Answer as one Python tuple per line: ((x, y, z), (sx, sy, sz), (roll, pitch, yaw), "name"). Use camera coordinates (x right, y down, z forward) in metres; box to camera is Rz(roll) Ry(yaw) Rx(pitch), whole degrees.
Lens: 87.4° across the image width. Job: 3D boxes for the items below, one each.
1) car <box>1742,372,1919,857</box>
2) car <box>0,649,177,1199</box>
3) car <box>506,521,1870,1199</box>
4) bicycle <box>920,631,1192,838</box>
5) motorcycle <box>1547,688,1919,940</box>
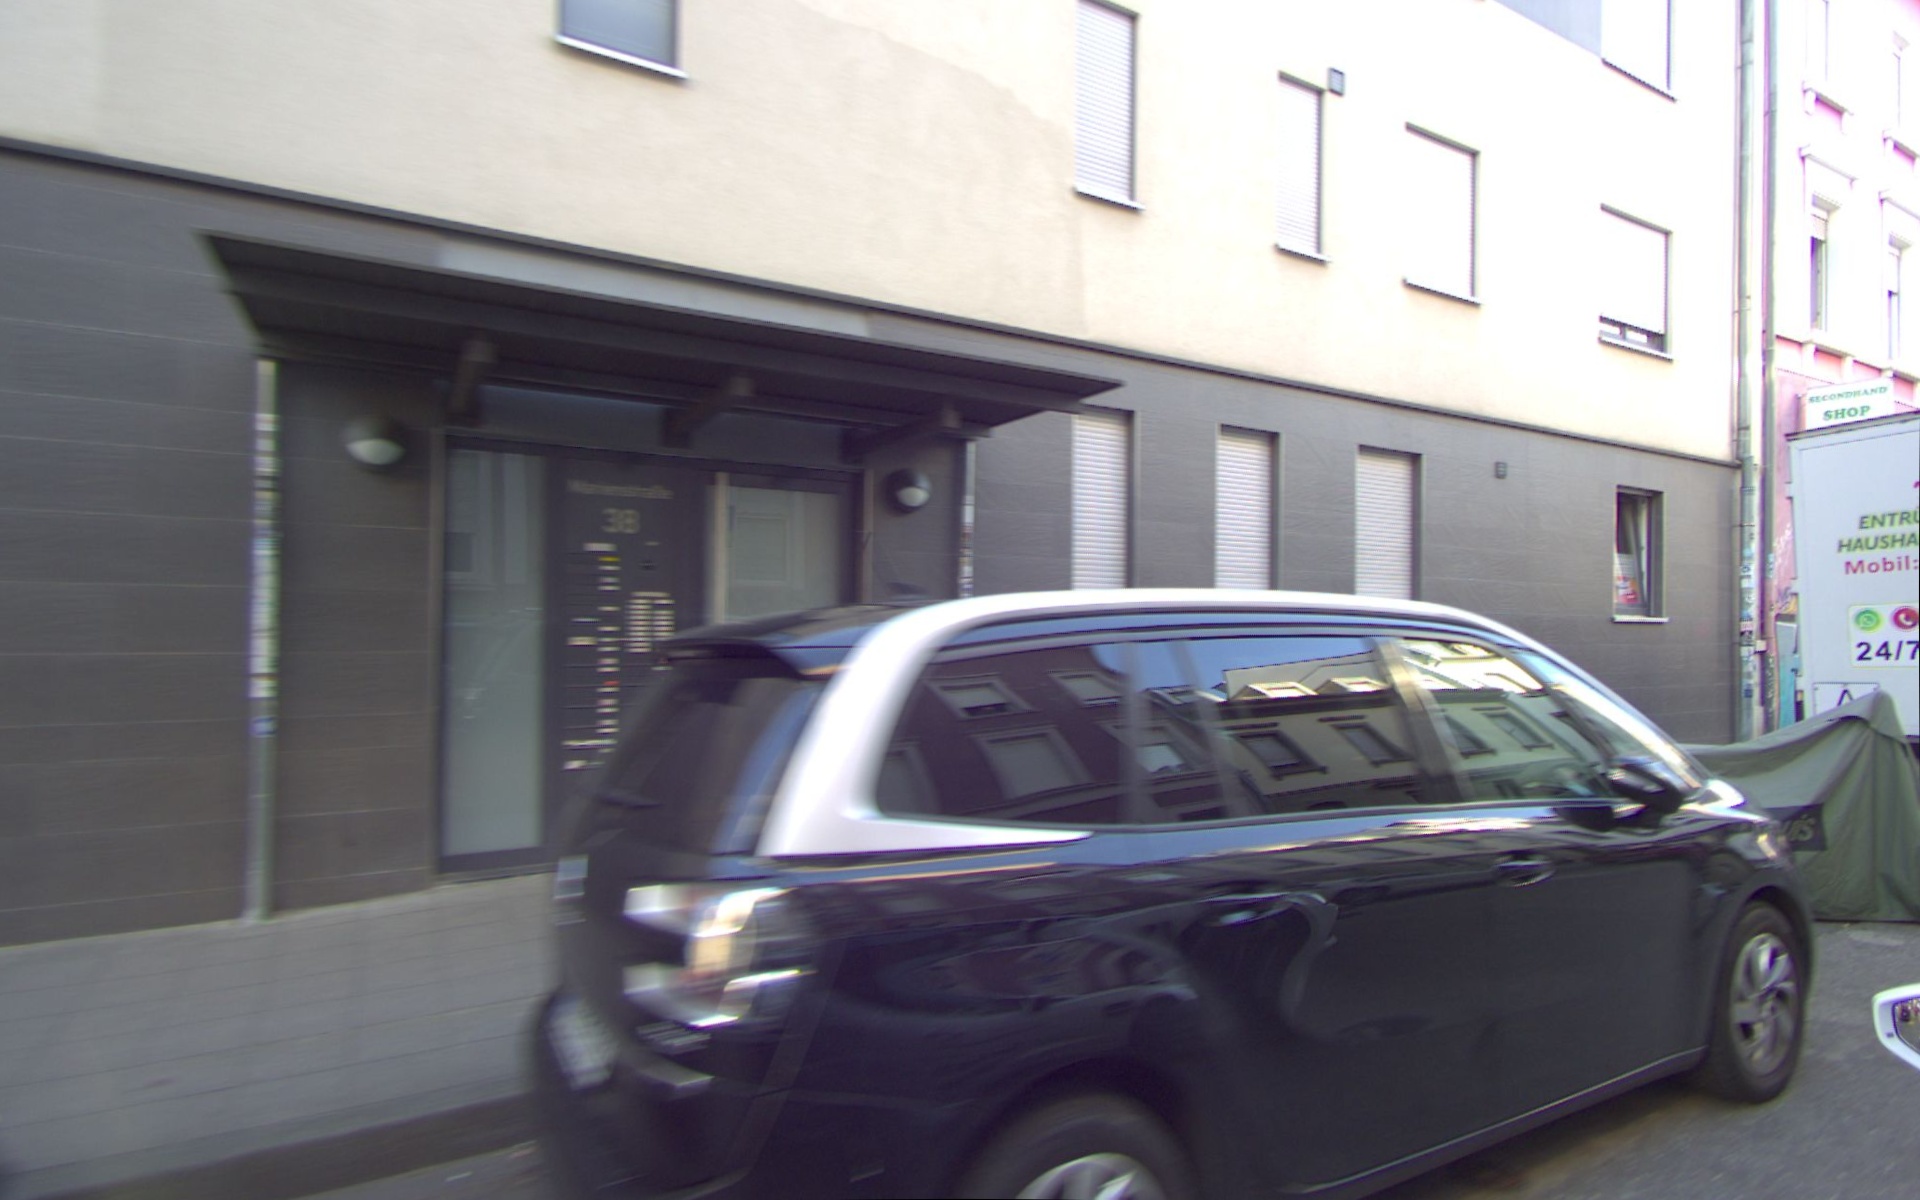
((9.743, 0.181, 8.511), (7.068, 3.334, 2.334), (2, -3, -30), "car")
((-3.407, 0.830, 0.574), (4.446, 1.498, 1.709), (0, -3, -31), "car")
((0.931, 0.787, 3.203), (4.196, 1.672, 1.709), (0, -3, -31), "car")
((0.634, 0.792, 6.387), (1.752, 1.179, 0.488), (1, -3, -29), "bicycle")
((4.628, 1.150, 5.688), (2.064, 1.269, 0.793), (-1, -3, 12), "motorcycle")
